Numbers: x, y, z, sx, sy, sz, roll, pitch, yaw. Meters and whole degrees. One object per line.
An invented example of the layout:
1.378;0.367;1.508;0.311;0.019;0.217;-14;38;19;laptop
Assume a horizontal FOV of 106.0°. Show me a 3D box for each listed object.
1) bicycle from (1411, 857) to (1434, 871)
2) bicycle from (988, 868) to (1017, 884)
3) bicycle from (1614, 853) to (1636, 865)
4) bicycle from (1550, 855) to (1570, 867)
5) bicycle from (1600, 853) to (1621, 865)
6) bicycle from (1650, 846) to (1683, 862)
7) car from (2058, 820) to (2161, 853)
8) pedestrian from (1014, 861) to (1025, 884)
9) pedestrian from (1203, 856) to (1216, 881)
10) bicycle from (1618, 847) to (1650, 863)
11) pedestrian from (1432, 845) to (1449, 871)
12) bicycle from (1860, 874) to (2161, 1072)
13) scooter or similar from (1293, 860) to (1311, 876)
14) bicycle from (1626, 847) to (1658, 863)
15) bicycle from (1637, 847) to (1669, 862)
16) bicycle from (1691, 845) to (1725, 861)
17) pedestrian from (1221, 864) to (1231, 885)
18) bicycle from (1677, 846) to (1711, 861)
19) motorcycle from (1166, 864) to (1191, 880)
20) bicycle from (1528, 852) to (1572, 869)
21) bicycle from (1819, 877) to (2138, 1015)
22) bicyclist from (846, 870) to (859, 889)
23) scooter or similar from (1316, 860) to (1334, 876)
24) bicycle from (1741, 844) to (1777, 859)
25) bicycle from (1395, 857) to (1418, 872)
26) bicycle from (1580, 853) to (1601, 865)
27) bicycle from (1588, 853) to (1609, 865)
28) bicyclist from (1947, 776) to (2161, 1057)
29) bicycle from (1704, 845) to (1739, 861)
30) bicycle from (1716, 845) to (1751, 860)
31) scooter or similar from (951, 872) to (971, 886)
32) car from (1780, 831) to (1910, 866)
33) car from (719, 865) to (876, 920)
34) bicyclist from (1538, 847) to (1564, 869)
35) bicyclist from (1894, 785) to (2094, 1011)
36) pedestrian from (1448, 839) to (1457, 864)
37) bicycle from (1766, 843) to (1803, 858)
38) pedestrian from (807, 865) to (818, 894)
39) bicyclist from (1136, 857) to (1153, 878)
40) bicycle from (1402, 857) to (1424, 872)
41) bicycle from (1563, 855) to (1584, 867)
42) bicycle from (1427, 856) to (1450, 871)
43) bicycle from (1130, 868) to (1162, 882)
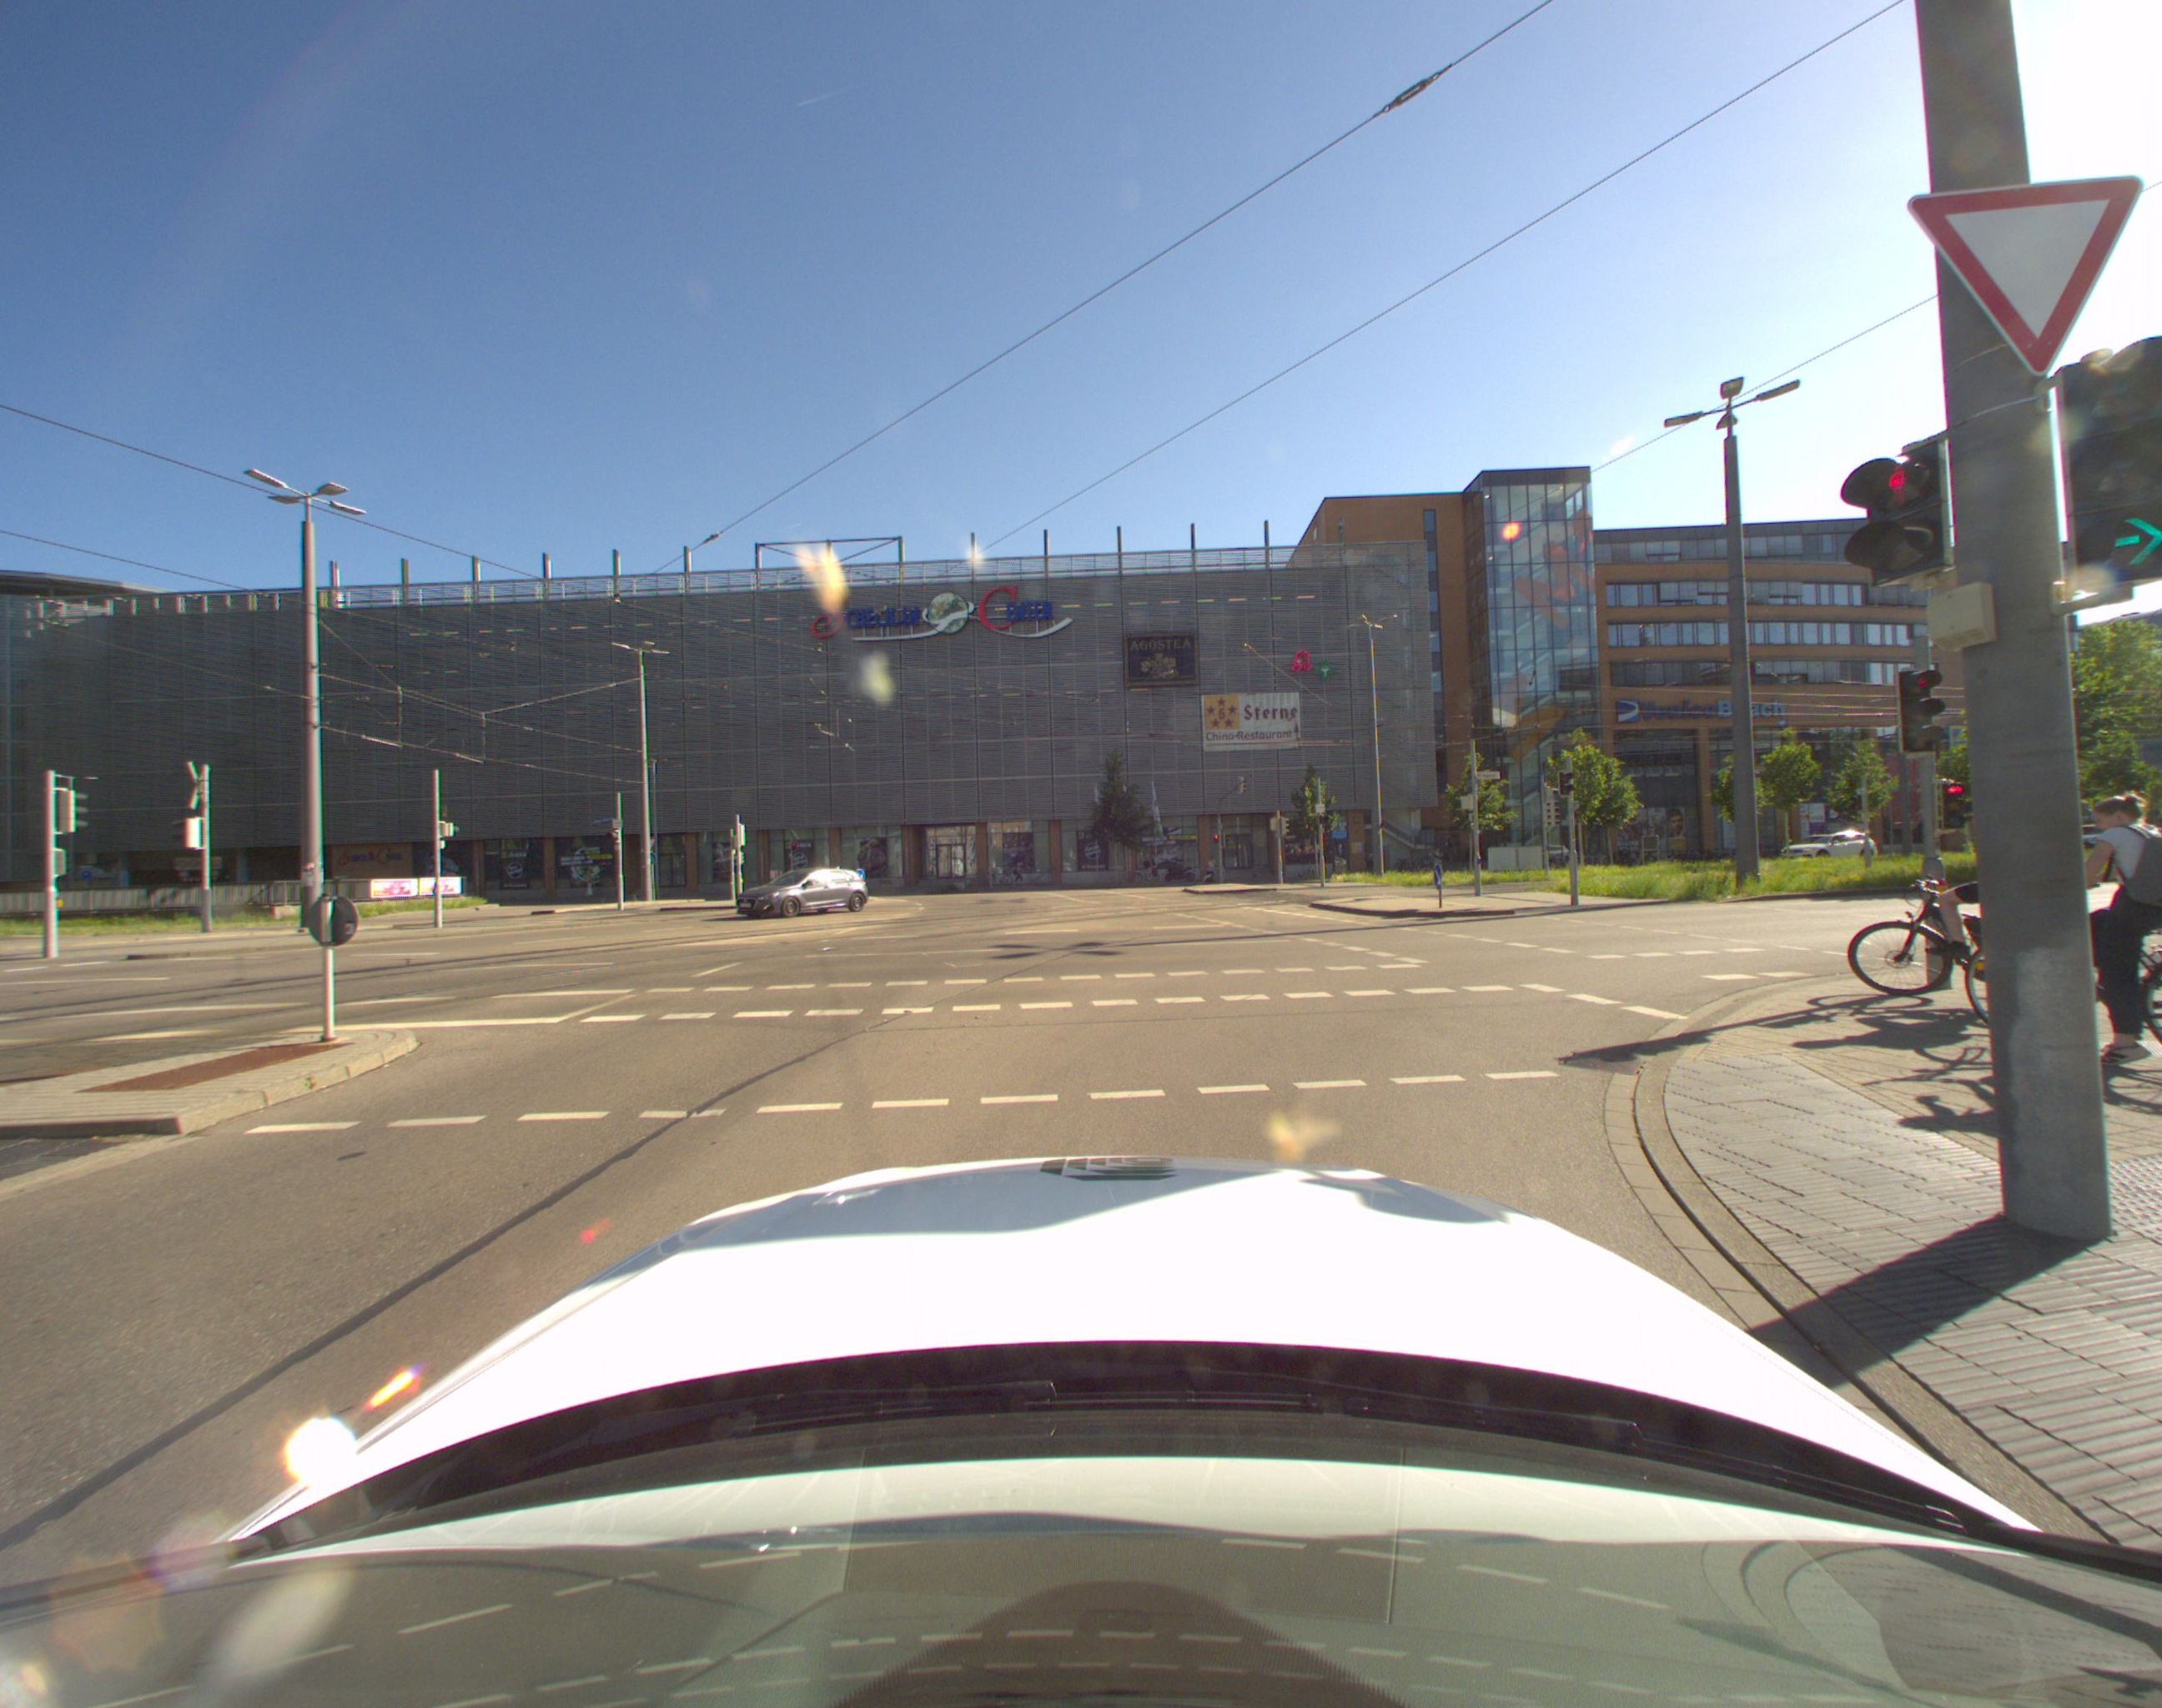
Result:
23.594;0.688;56.365;0.490;0.954;2.176;-2;0;-5;bicycle
-5.373;1.478;55.729;1.941;1.038;0.572;-2;-1;-4;bicycle
38.490;0.348;57.624;0.443;0.819;1.448;-2;0;-5;bicycle
33.921;0.502;57.732;0.443;0.819;1.448;-2;0;-5;bicycle
37.507;0.357;57.723;0.443;0.819;1.448;-2;0;-5;bicycle
44.030;0.011;61.276;0.749;1.123;2.176;-2;0;-5;bicycle
71.195;-1.205;56.364;5.237;2.014;2.221;-2;-1;-9;car
-4.123;1.231;54.732;0.644;1.519;0.492;-2;-1;5;pedestrian
8.017;0.891;50.670;0.734;1.487;0.491;-2;-1;10;pedestrian
41.286;0.082;60.867;0.749;1.123;2.176;-2;0;-5;bicycle
24.261;0.261;54.936;0.777;1.685;0.594;-2;-1;-13;pedestrian
6.541;0.702;5.439;0.692;1.105;2.011;-3;-1;0;bicycle
15.452;0.959;56.914;1.197;1.103;0.277;0;-1;2;scooter or similar
42.105;0.082;61.185;0.749;1.123;2.176;-2;0;-5;bicycle
43.044;0.044;61.304;0.749;1.123;2.176;-2;0;-5;bicycle
46.920;-0.081;60.985;0.749;1.123;2.176;-2;0;-5;bicycle
8.856;1.252;49.803;0.448;1.229;0.396;-1;-1;-12;pedestrian
45.915;-0.051;60.995;0.749;1.123;2.176;-2;0;-5;bicycle
6.667;1.238;55.803;1.608;1.038;0.402;-2;-1;1;motorcycle
31.332;0.445;54.369;2.551;1.010;0.598;-2;-1;1;bicycle
7.844;0.749;7.284;0.603;1.038;1.892;-3;-2;-5;bicycle
-14.051;1.542;50.058;0.565;1.139;0.554;-1;-1;-33;bicyclist
17.105;0.960;57.132;1.197;1.103;0.277;0;-1;2;scooter or similar
50.679;-0.200;60.930;0.749;1.123;2.176;-2;0;-5;bicycle
22.417;0.720;56.143;0.490;0.954;2.176;-2;0;-5;bicycle
35.978;0.381;57.510;0.443;0.819;1.448;-2;0;-5;bicycle
36.541;0.379;57.542;0.443;0.819;1.448;-2;0;-5;bicycle
6.543;0.365;5.327;0.591;1.654;1.003;-3;-1;0;bicyclist
47.954;-0.087;61.028;0.749;1.123;2.176;-2;0;-5;bicycle
48.872;-0.123;61.038;0.749;1.123;2.176;-2;0;-5;bicycle
-7.604;1.560;51.511;1.220;0.851;0.301;-2;-1;-3;scooter or similar
41.155;-0.292;43.918;5.517;1.652;1.811;-2;-1;-4;car
-8.699;1.138;25.353;1.974;1.499;4.337;-2;-1;31;car
31.371;0.251;54.372;1.303;1.407;0.594;-2;-1;1;bicyclist
7.843;0.364;7.043;0.547;1.798;0.904;-3;-2;-5;bicyclist
27.636;-0.179;60.617;0.536;1.915;0.375;-1;-1;8;pedestrian
52.875;-0.252;61.201;0.749;1.123;2.176;-2;0;-5;bicycle
-16.516;1.564;50.083;0.625;1.751;0.585;-1;-1;-18;pedestrian
4.144;0.863;53.122;1.033;1.318;0.682;-2;-1;-1;bicyclist
22.932;0.708;56.251;0.490;0.954;2.176;-2;0;-5;bicycle
34.804;0.494;57.564;0.443;0.819;1.448;-2;0;-5;bicycle
24.816;0.644;56.551;0.490;0.954;2.176;-2;0;-5;bicycle
4.220;1.380;53.109;2.035;0.867;0.682;-2;-1;-1;bicycle
